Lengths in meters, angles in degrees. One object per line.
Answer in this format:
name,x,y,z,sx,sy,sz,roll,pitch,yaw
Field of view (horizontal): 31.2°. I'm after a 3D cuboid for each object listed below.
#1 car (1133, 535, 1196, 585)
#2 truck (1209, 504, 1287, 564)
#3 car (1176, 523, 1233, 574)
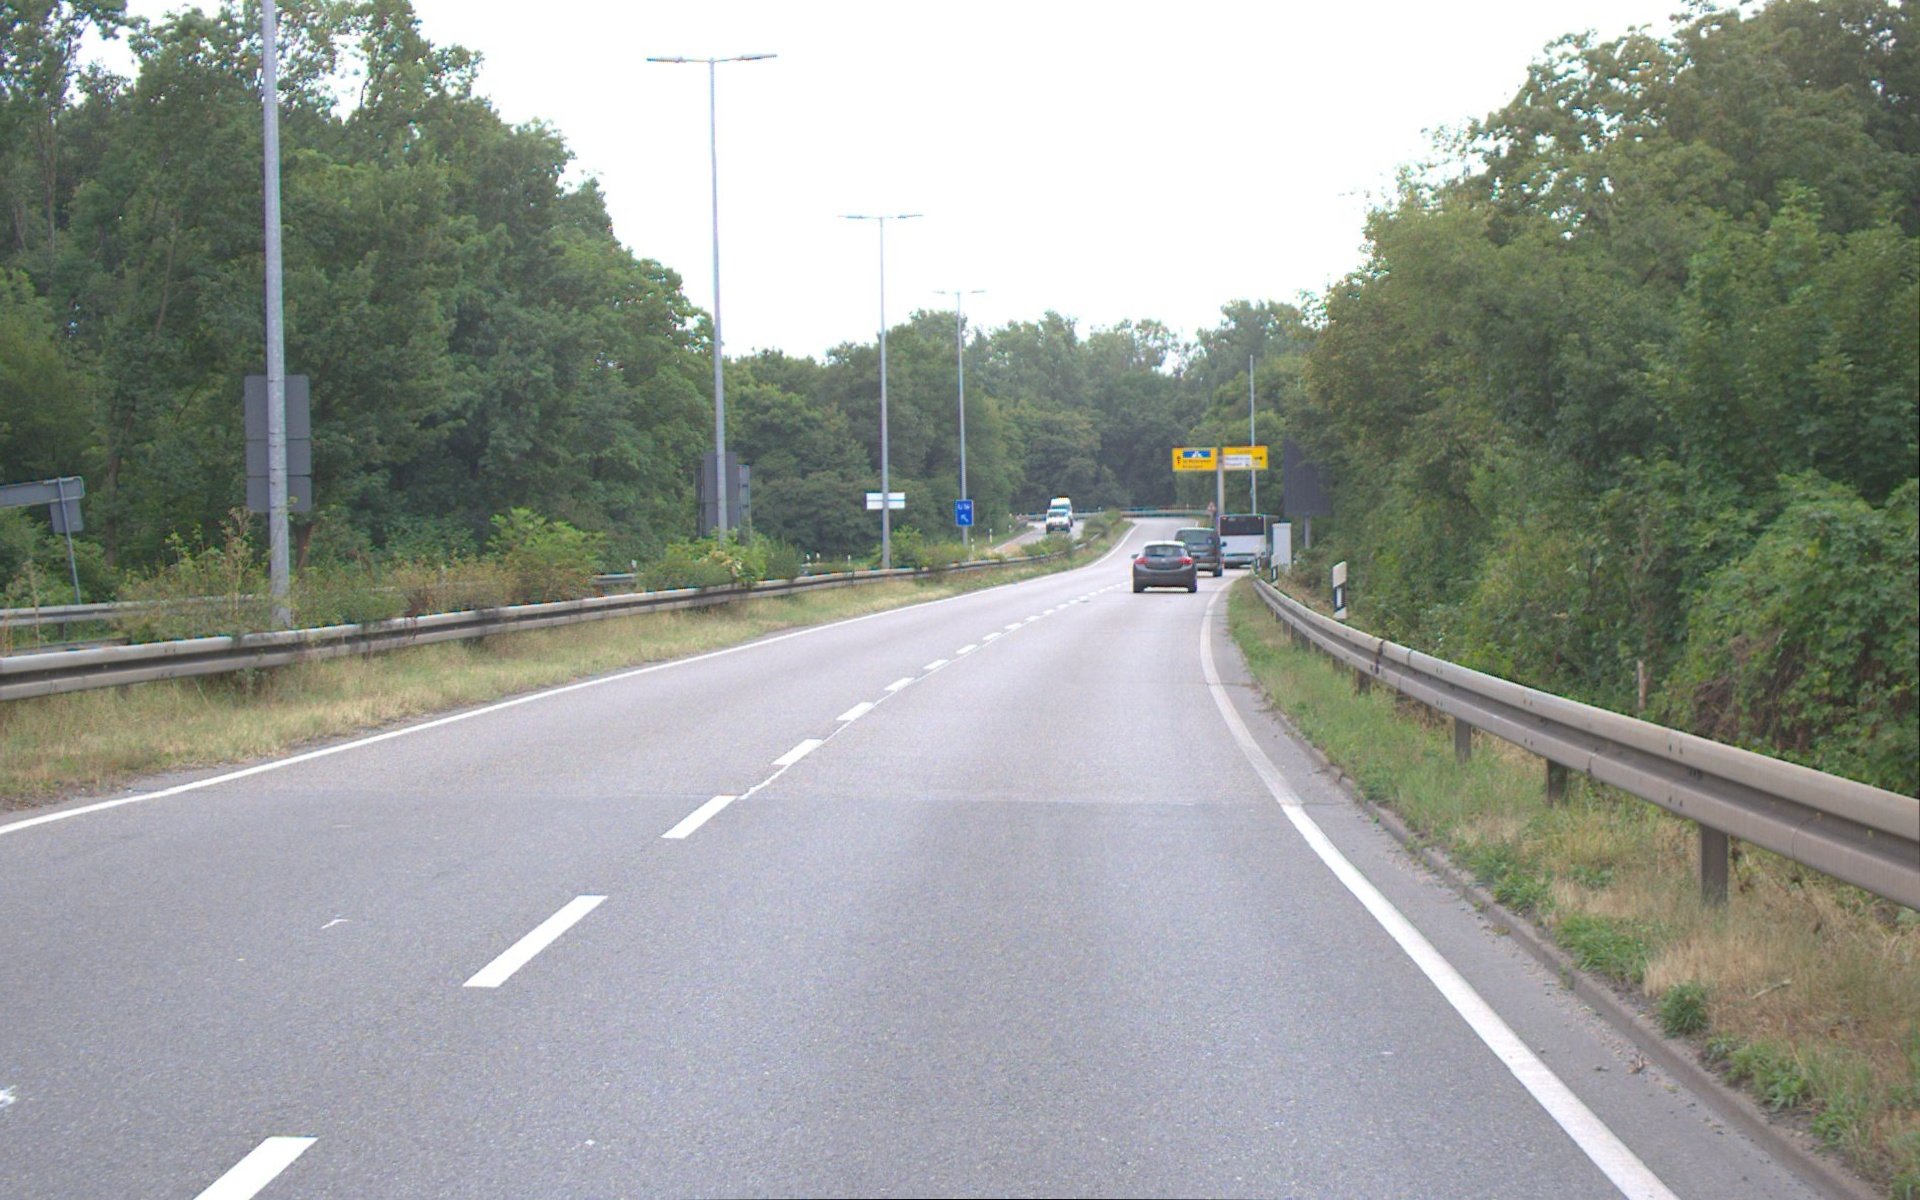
car,5.897,-1.130,98.710,1.626,1.373,3.999,0,0,6
truck,14.843,-3.372,176.551,2.982,2.875,7.986,0,0,12
car,9.928,-2.068,139.212,2.148,2.007,3.999,0,0,6
